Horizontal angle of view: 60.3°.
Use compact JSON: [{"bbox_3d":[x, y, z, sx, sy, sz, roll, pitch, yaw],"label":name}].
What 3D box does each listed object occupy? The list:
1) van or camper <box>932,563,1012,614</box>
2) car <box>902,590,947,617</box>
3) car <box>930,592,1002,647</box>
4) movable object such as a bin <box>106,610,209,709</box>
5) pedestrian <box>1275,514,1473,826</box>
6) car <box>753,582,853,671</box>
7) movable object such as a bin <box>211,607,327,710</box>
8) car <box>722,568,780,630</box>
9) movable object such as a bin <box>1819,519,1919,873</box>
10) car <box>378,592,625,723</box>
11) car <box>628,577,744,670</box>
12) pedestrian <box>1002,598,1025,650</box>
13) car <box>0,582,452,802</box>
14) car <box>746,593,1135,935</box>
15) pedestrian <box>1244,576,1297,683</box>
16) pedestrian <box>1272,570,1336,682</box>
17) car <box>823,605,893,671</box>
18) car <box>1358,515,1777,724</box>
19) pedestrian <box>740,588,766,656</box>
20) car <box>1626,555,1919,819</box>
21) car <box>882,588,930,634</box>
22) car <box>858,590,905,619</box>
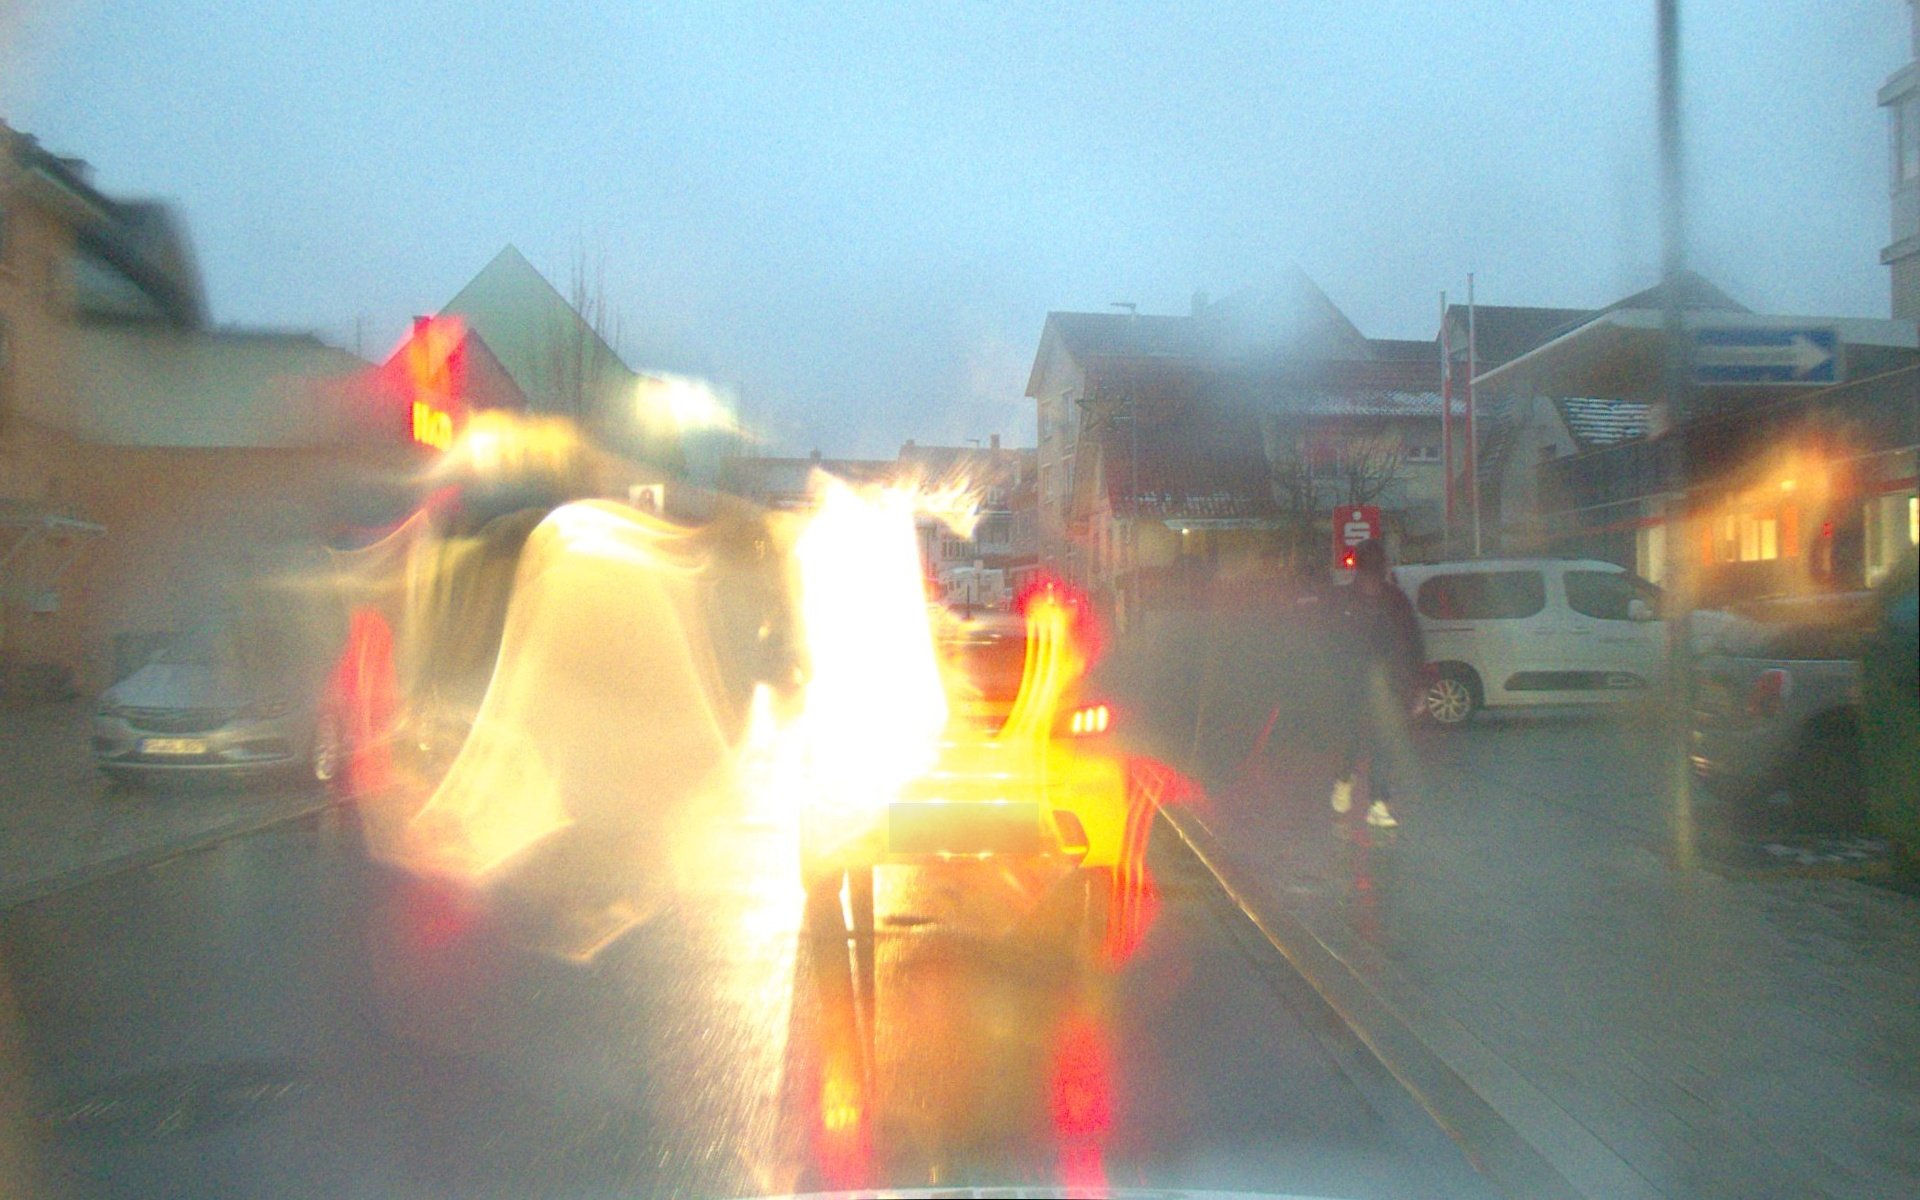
[{"bbox_3d":[0.719,-0.746,108.209,2.616,3.100,6.685,-3,1,-23],"label":"van or camper"},{"bbox_3d":[-2.313,0.232,107.351,1.961,1.639,4.157,-2,-1,-15],"label":"car"},{"bbox_3d":[0.158,0.593,52.013,1.954,1.616,3.997,1,0,-4],"label":"car"},{"bbox_3d":[-11.450,0.831,23.638,1.129,1.378,0.849,0,0,-11],"label":"movable object such as a bin"},{"bbox_3d":[2.691,0.434,10.864,0.947,1.922,1.005,-2,0,-4],"label":"pedestrian"},{"bbox_3d":[-3.442,0.536,37.074,1.954,1.735,4.964,2,1,-3],"label":"car"},{"bbox_3d":[-9.954,0.835,23.877,1.316,1.378,0.887,-3,0,-11],"label":"movable object such as a bin"},{"bbox_3d":[-9.441,0.022,74.420,2.439,2.605,6.749,1,-1,-8],"label":"car"},{"bbox_3d":[5.183,0.429,7.954,1.365,1.672,1.261,-2,0,-4],"label":"movable object such as a bin"},{"bbox_3d":[-5.923,0.692,22.047,1.953,1.549,4.977,0,0,-1],"label":"car"},{"bbox_3d":[-5.752,0.443,35.237,2.045,1.823,5.018,1,0,-5],"label":"car"},{"bbox_3d":[1.842,0.824,57.077,0.730,1.759,0.872,0,1,-4],"label":"pedestrian"},{"bbox_3d":[-6.142,0.681,14.517,1.953,1.585,4.620,1,0,-1],"label":"car"},{"bbox_3d":[-0.168,0.772,9.666,1.778,1.560,3.998,1,0,-2],"label":"car"},{"bbox_3d":[5.138,0.483,27.436,0.824,1.735,0.840,1,0,9],"label":"pedestrian"},{"bbox_3d":[5.489,0.408,26.433,0.690,1.735,0.913,-2,0,-9],"label":"pedestrian"},{"bbox_3d":[-2.981,1.070,48.151,1.913,1.573,4.413,-1,3,-4],"label":"car"},{"bbox_3d":[6.658,0.219,18.560,4.004,2.085,2.002,-2,0,7],"label":"car"},{"bbox_3d":[-4.915,0.521,39.319,0.562,1.613,0.530,0,1,-1],"label":"pedestrian"},{"bbox_3d":[6.566,0.497,10.495,3.904,1.512,1.913,-1,-1,2],"label":"car"},{"bbox_3d":[-2.389,0.467,72.070,1.954,1.890,3.997,1,0,-3],"label":"car"},{"bbox_3d":[-5.107,0.261,106.921,1.962,1.796,4.329,-2,1,-17],"label":"car"}]
